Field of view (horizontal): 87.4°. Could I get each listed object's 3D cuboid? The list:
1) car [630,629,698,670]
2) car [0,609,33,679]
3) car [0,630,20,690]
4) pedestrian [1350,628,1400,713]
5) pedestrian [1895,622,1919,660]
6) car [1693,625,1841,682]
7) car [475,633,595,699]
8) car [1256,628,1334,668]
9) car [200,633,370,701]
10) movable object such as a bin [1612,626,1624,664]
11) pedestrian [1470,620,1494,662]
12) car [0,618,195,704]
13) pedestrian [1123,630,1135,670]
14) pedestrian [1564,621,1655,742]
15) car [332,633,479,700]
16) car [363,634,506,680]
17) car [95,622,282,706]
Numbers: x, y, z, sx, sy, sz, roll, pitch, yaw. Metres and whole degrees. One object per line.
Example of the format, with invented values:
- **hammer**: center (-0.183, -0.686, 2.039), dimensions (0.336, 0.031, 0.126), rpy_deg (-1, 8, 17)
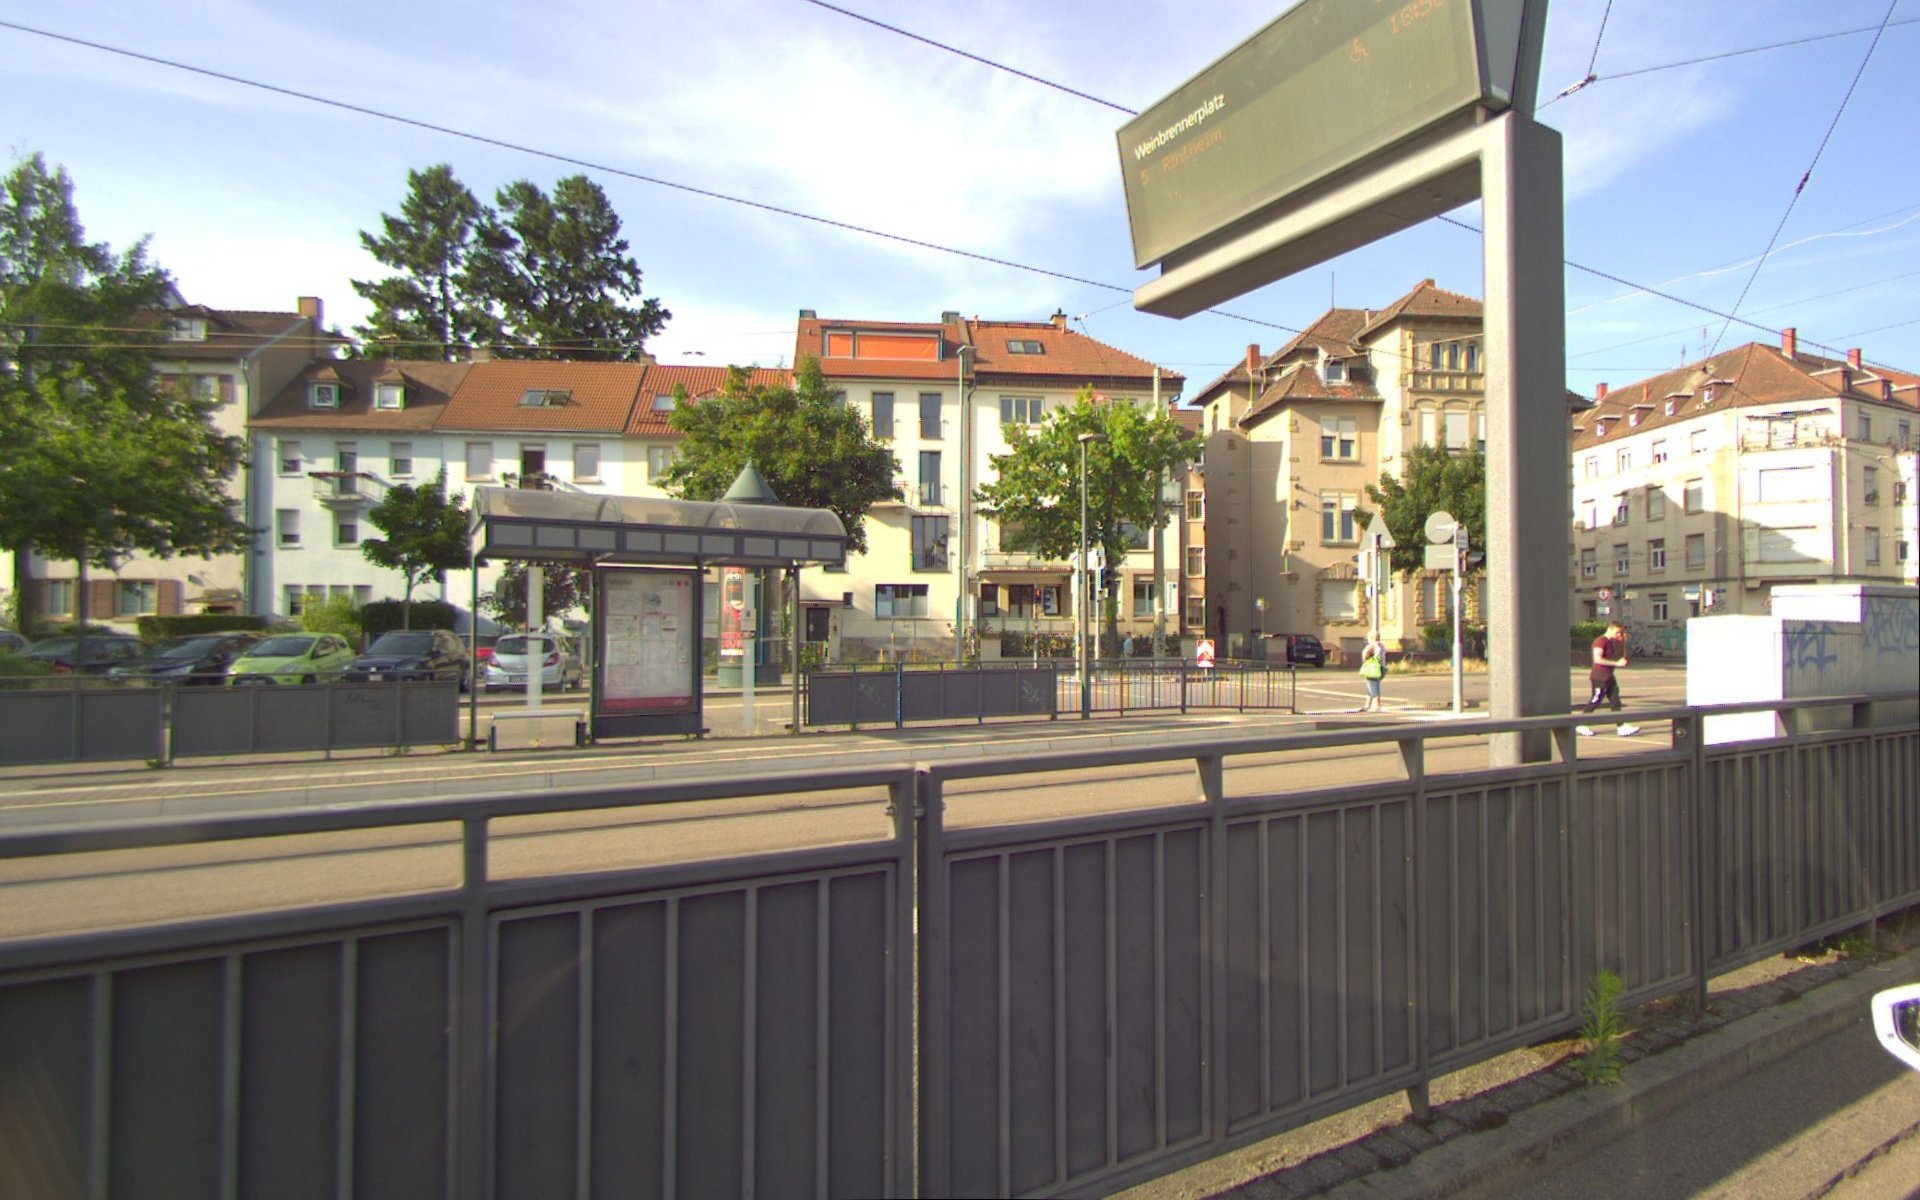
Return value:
- **car**: center (-11.975, 1.987, 40.874), dimensions (1.821, 1.578, 3.998), rpy_deg (0, -2, -4)
- **car**: center (-24.896, 1.067, 24.242), dimensions (1.822, 1.777, 3.993), rpy_deg (0, -2, -11)
- **car**: center (-31.513, 1.841, 30.523), dimensions (3.926, 1.823, 1.816), rpy_deg (0, -2, -7)
- **pedestrian**: center (8.008, 1.350, 19.395), dimensions (0.708, 1.610, 0.586), rpy_deg (1, -2, -34)
- **pedestrian**: center (46.900, 2.023, 49.694), dimensions (0.616, 1.905, 0.659), rpy_deg (0, -2, -15)
- **car**: center (24.125, 1.553, 30.030), dimensions (4.063, 1.546, 1.674), rpy_deg (0, -1, -22)
- **car**: center (-10.235, 1.543, 24.471), dimensions (1.740, 1.447, 3.995), rpy_deg (0, -2, -9)
- **car**: center (14.474, 2.069, 43.659), dimensions (1.742, 1.653, 3.998), rpy_deg (0, -2, -5)
- **car**: center (-15.713, 1.508, 23.654), dimensions (1.740, 1.447, 3.995), rpy_deg (0, -2, -9)
- **movable object such as a bin**: center (30.878, 2.114, 47.179), dimensions (0.259, 1.732, 2.379), rpy_deg (-1, -2, 29)
- **pedestrian**: center (21.262, 1.676, 40.908), dimensions (0.592, 1.673, 0.681), rpy_deg (0, -1, -3)
- **car**: center (-19.677, 1.347, 23.001), dimensions (1.822, 1.777, 3.993), rpy_deg (0, -2, -11)
- **pedestrian**: center (6.514, 1.940, 38.744), dimensions (0.382, 1.535, 0.405), rpy_deg (0, -2, -3)
- **pedestrian**: center (9.476, 1.167, 14.672), dimensions (0.663, 1.692, 0.877), rpy_deg (1, -2, -27)
- **car**: center (-13.009, 1.523, 23.848), dimensions (1.740, 1.447, 3.995), rpy_deg (0, -2, -9)
- **car**: center (-16.966, 1.830, 32.569), dimensions (3.792, 1.445, 1.548), rpy_deg (0, -2, -7)
- **car**: center (-17.796, 1.422, 23.427), dimensions (1.822, 1.777, 3.993), rpy_deg (0, -2, -11)
